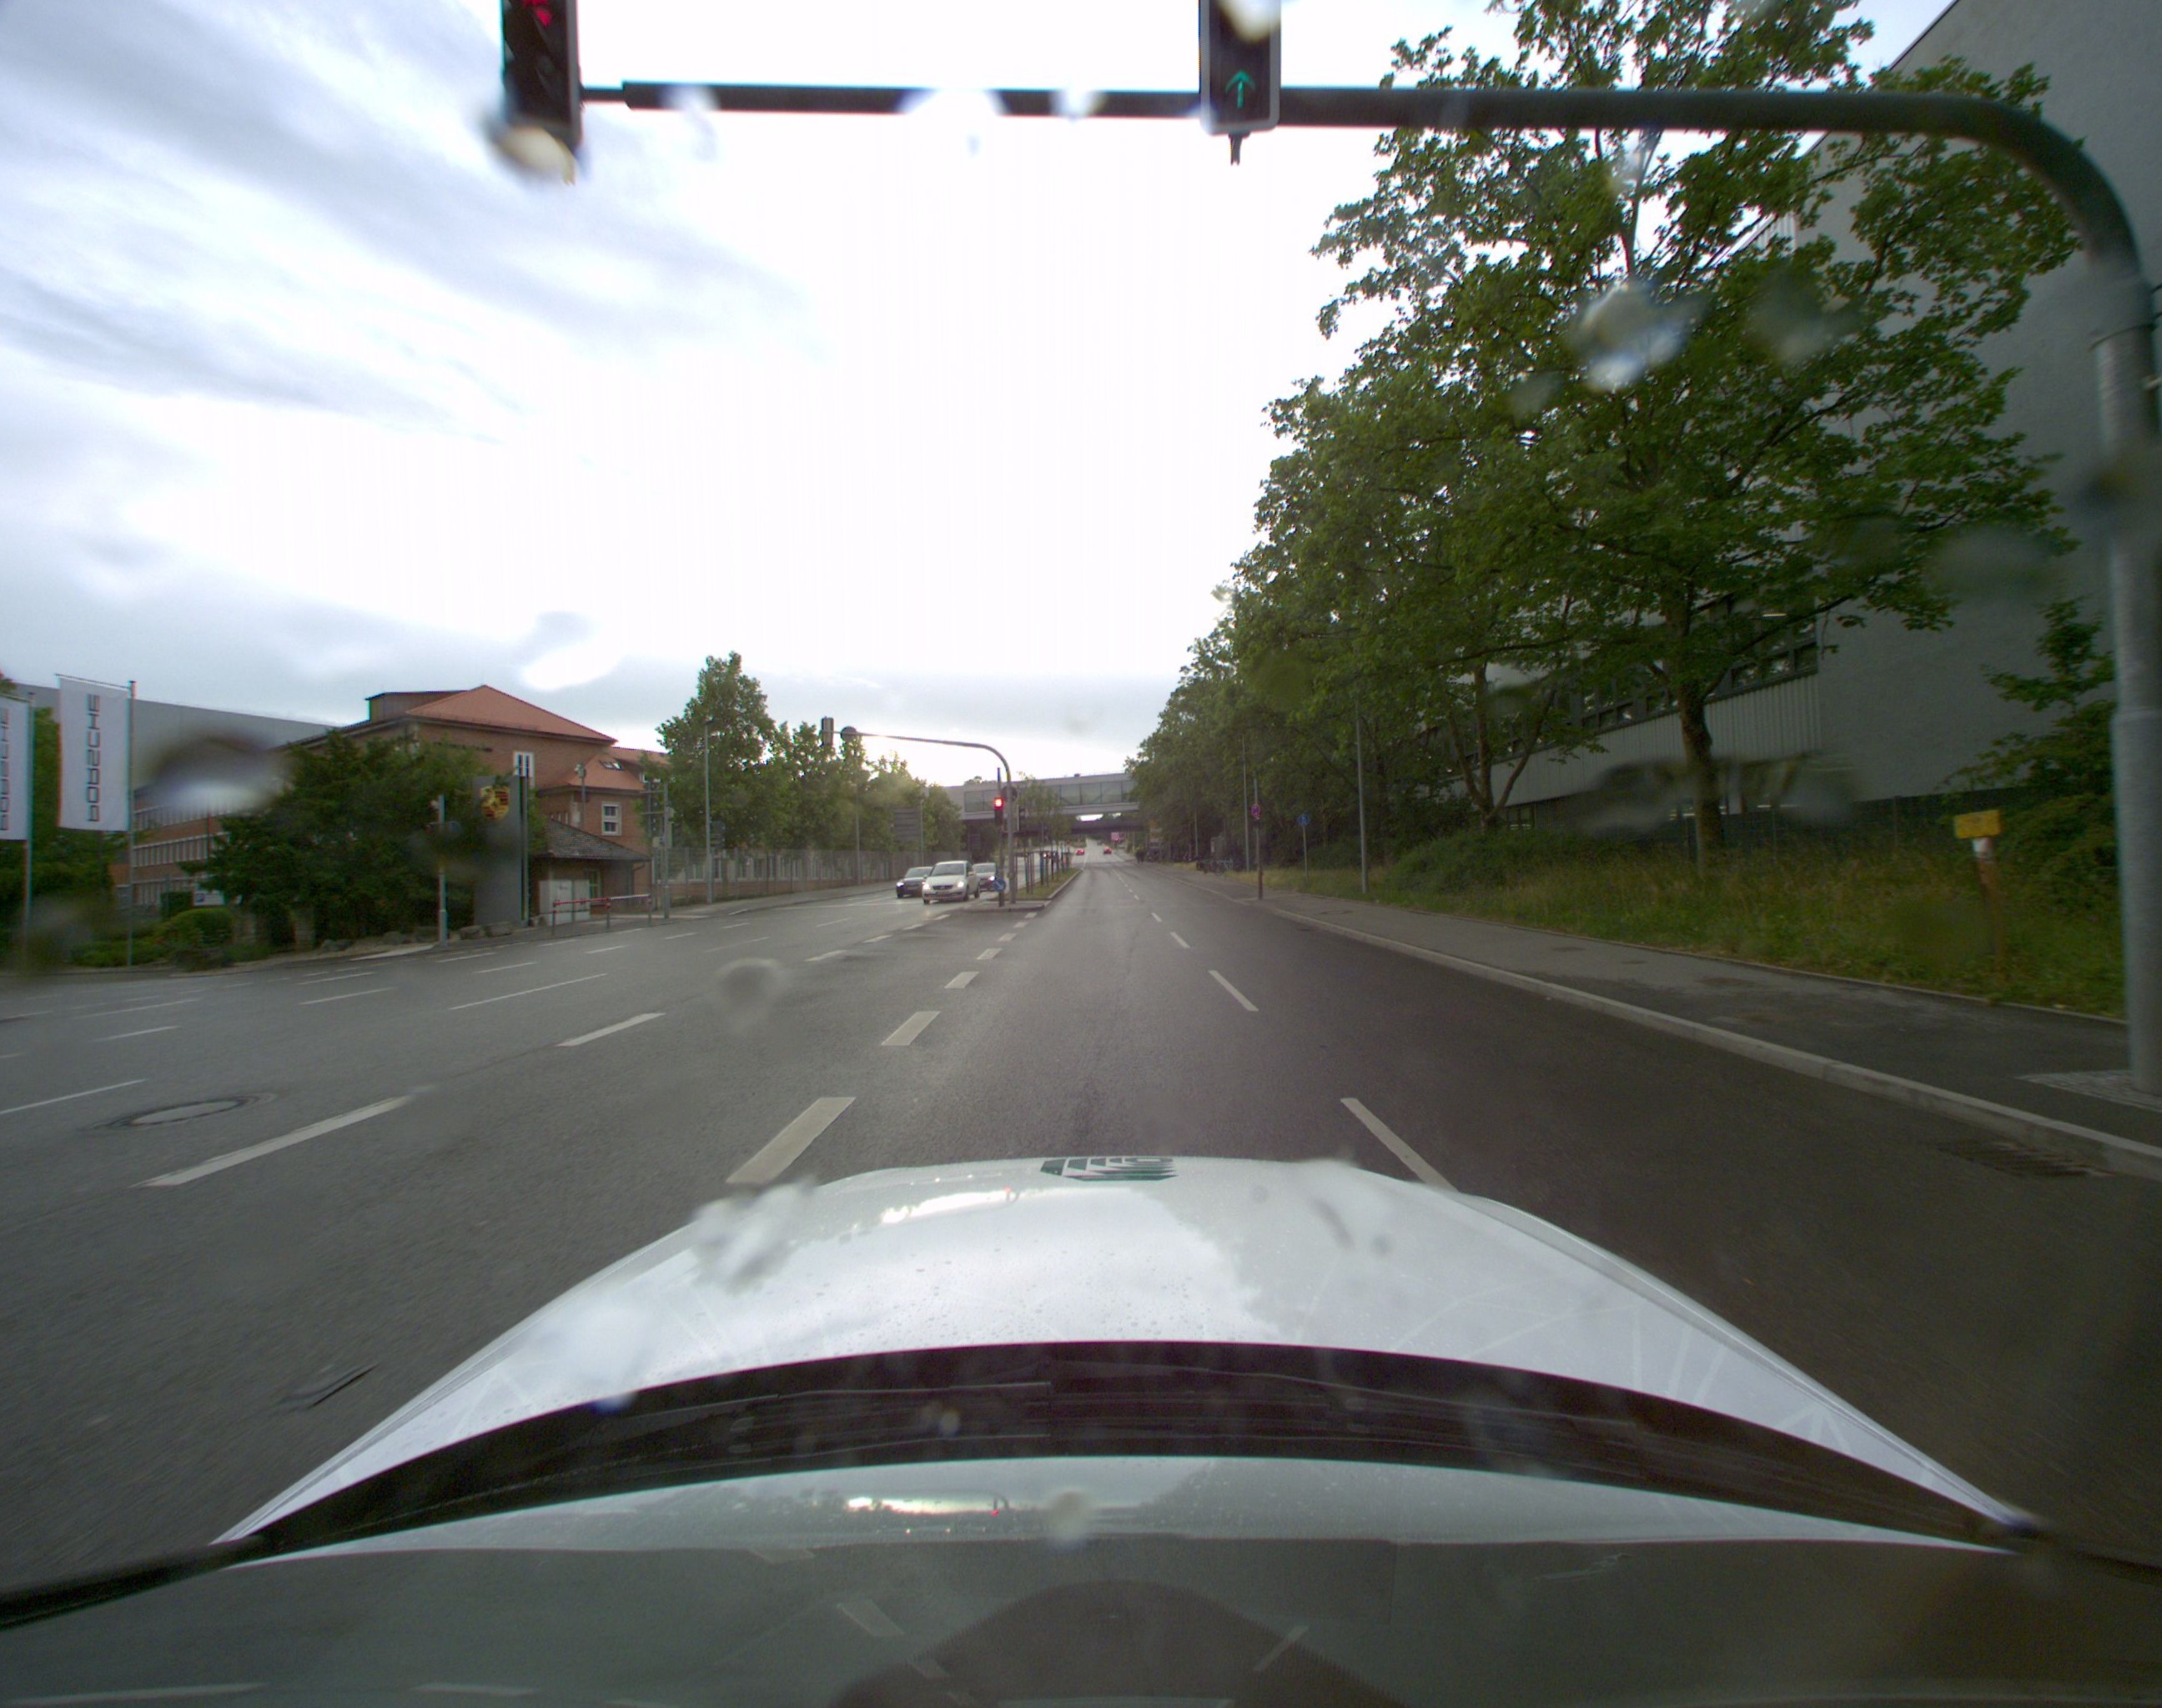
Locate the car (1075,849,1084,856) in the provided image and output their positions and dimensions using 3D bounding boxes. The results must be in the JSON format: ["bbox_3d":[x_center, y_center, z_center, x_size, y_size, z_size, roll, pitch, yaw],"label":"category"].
[{"bbox_3d":[-0.313,-0.437,198.577,2.070,1.718,4.196,0,-1,-1],"label":"car"}]

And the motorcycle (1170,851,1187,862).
[{"bbox_3d":[11.003,0.311,92.078,1.851,1.191,0.519,-3,0,-15],"label":"motorcycle"}]

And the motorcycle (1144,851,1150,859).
[{"bbox_3d":[9.475,0.141,117.107,0.466,1.213,1.952,-3,0,13],"label":"motorcycle"}]

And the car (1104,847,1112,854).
[{"bbox_3d":[6.617,-0.906,198.199,1.739,1.470,4.166,-2,1,0],"label":"car"}]

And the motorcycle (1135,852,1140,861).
[{"bbox_3d":[7.803,0.364,111.959,0.468,1.136,1.819,-3,0,0],"label":"motorcycle"}]

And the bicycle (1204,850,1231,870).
[{"bbox_3d":[9.885,0.414,58.933,1.859,1.348,0.446,-3,0,-12],"label":"bicycle"}]

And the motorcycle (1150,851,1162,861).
[{"bbox_3d":[10.669,0.280,115.801,0.550,1.297,1.922,-3,0,-37],"label":"motorcycle"}]

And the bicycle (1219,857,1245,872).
[{"bbox_3d":[9.877,0.685,53.235,1.546,0.958,0.393,-3,0,0],"label":"bicycle"}]

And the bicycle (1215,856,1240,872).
[{"bbox_3d":[9.836,0.683,54.748,1.546,1.005,0.393,-3,0,0],"label":"bicycle"}]

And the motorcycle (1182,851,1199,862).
[{"bbox_3d":[11.042,0.254,82.122,1.643,1.150,0.494,0,-1,8],"label":"motorcycle"}]

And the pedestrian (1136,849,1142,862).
[{"bbox_3d":[7.963,0.173,111.998,0.607,1.721,0.894,-3,0,11],"label":"pedestrian"}]

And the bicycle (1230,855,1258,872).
[{"bbox_3d":[9.836,0.577,49.116,1.602,0.939,0.387,-3,-1,0],"label":"bicycle"}]

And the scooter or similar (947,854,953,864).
[{"bbox_3d":[-16.670,0.583,103.489,0.310,1.218,1.310,-3,0,6],"label":"scooter or similar"}]

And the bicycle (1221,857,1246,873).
[{"bbox_3d":[9.887,0.688,52.841,1.546,0.958,0.393,-3,0,0],"label":"bicycle"}]

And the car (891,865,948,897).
[{"bbox_3d":[-8.031,1.300,40.855,1.767,1.404,4.616,-3,0,1],"label":"car"}]

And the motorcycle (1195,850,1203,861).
[{"bbox_3d":[14.050,0.168,96.891,0.643,1.279,1.991,-2,0,0],"label":"motorcycle"}]

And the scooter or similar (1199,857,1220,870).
[{"bbox_3d":[9.625,0.714,60.946,1.476,0.937,0.364,-3,0,-17],"label":"scooter or similar"}]

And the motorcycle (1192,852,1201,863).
[{"bbox_3d":[14.381,0.458,101.420,0.345,1.279,2.084,-2,0,29],"label":"motorcycle"}]

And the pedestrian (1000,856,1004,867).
[{"bbox_3d":[-13.169,1.181,135.976,0.516,1.816,0.802,-2,0,11],"label":"pedestrian"}]

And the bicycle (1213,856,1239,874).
[{"bbox_3d":[9.050,0.678,50.840,1.546,1.005,0.393,-3,0,0],"label":"bicycle"}]

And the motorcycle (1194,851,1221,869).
[{"bbox_3d":[9.728,0.429,62.586,1.995,1.273,0.443,-3,0,13],"label":"motorcycle"}]

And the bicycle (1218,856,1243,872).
[{"bbox_3d":[9.902,0.660,53.902,1.546,1.005,0.393,-3,0,0],"label":"bicycle"}]

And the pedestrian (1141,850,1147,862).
[{"bbox_3d":[8.618,0.218,111.870,0.646,1.596,0.580,-3,0,12],"label":"pedestrian"}]

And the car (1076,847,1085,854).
[{"bbox_3d":[-0.066,-0.912,209.479,2.159,1.582,4.664,0,0,0],"label":"car"}]

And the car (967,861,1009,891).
[{"bbox_3d":[-4.814,1.115,42.517,1.572,1.404,4.112,-3,0,1],"label":"car"}]

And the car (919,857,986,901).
[{"bbox_3d":[-5.155,0.980,33.247,1.764,1.589,4.488,-3,-1,3],"label":"car"}]

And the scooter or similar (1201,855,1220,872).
[{"bbox_3d":[8.902,0.630,55.845,1.210,1.091,0.312,-3,0,-4],"label":"scooter or similar"}]
